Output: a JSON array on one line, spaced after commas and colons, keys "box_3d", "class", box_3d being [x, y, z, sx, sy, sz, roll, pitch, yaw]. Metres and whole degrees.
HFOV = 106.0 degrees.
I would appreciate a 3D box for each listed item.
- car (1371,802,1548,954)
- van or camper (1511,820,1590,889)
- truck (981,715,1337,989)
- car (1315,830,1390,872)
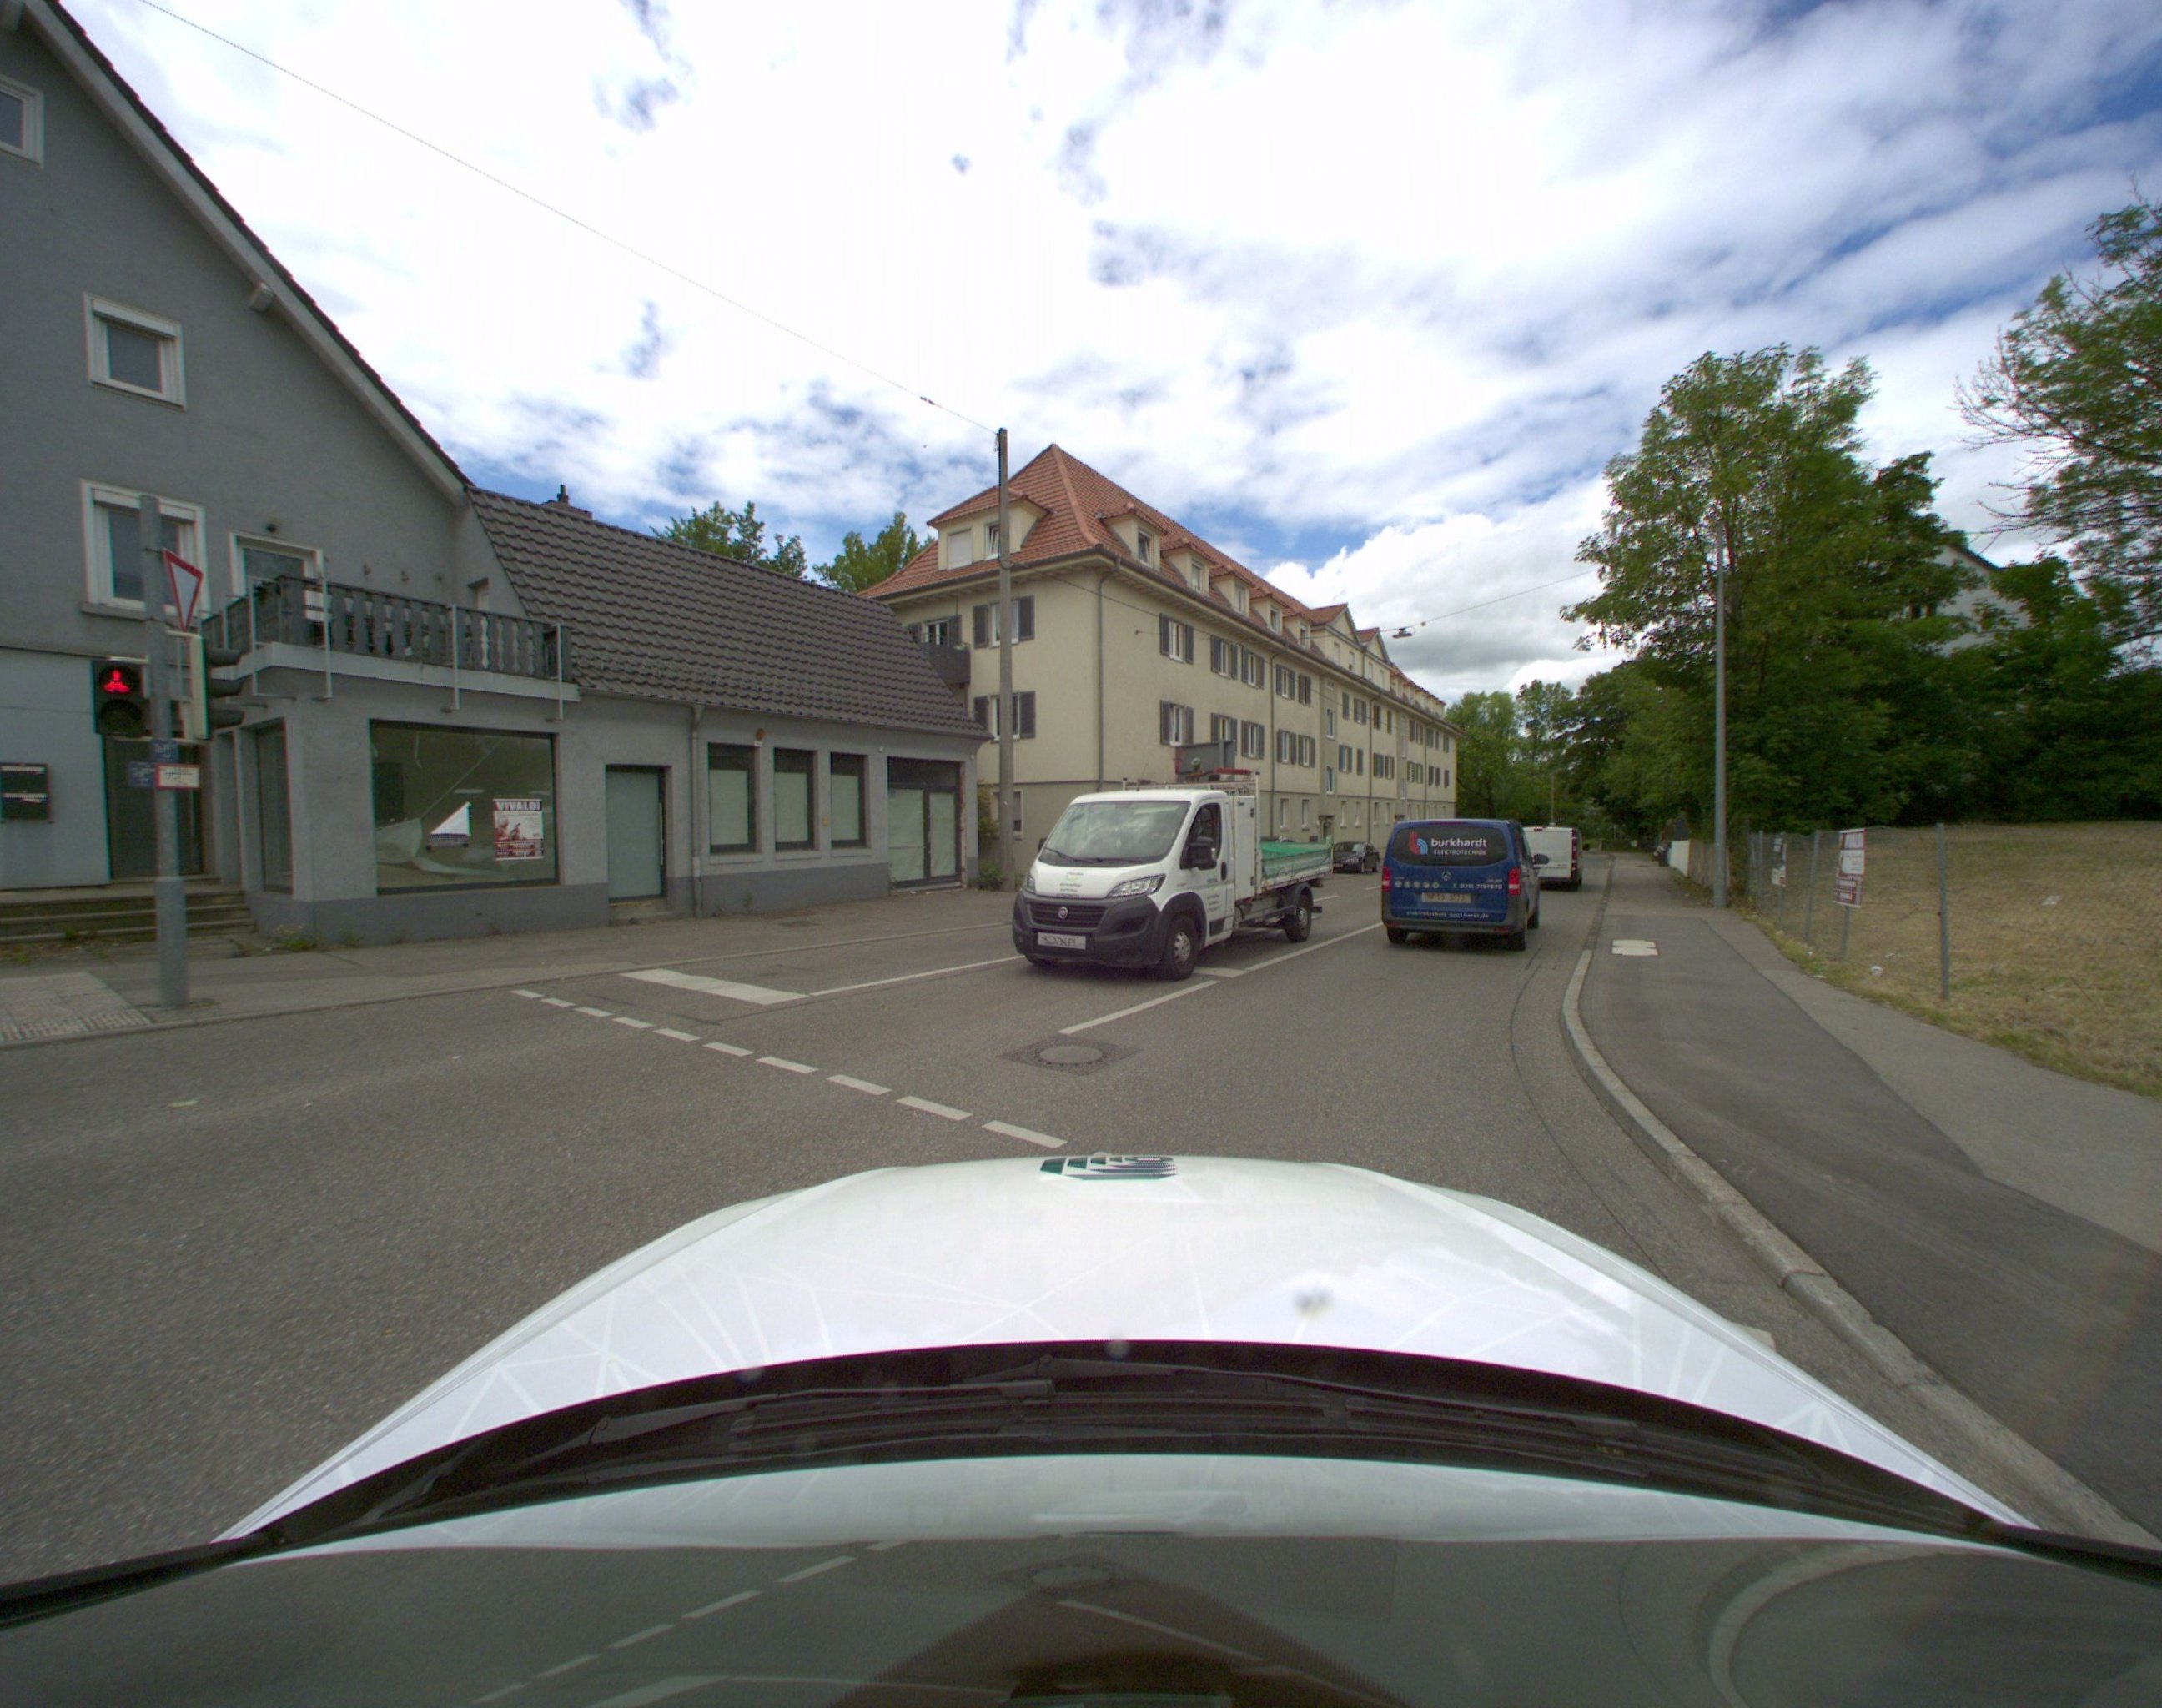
[{"box_3d": [6.181, 0.257, 12.961, 1.929, 1.965, 4.571, -1, 1, 33], "class": "car"}, {"box_3d": [15.404, -0.040, 26.587, 1.974, 2.013, 5.128, 1, 1, 32], "class": "van or camper"}, {"box_3d": [1.544, -0.070, 11.268, 1.974, 2.700, 6.449, -1, 0, 34], "class": "truck"}, {"box_3d": [12.235, -0.173, 36.525, 1.974, 1.749, 4.026, -1, 1, 37], "class": "car"}]
